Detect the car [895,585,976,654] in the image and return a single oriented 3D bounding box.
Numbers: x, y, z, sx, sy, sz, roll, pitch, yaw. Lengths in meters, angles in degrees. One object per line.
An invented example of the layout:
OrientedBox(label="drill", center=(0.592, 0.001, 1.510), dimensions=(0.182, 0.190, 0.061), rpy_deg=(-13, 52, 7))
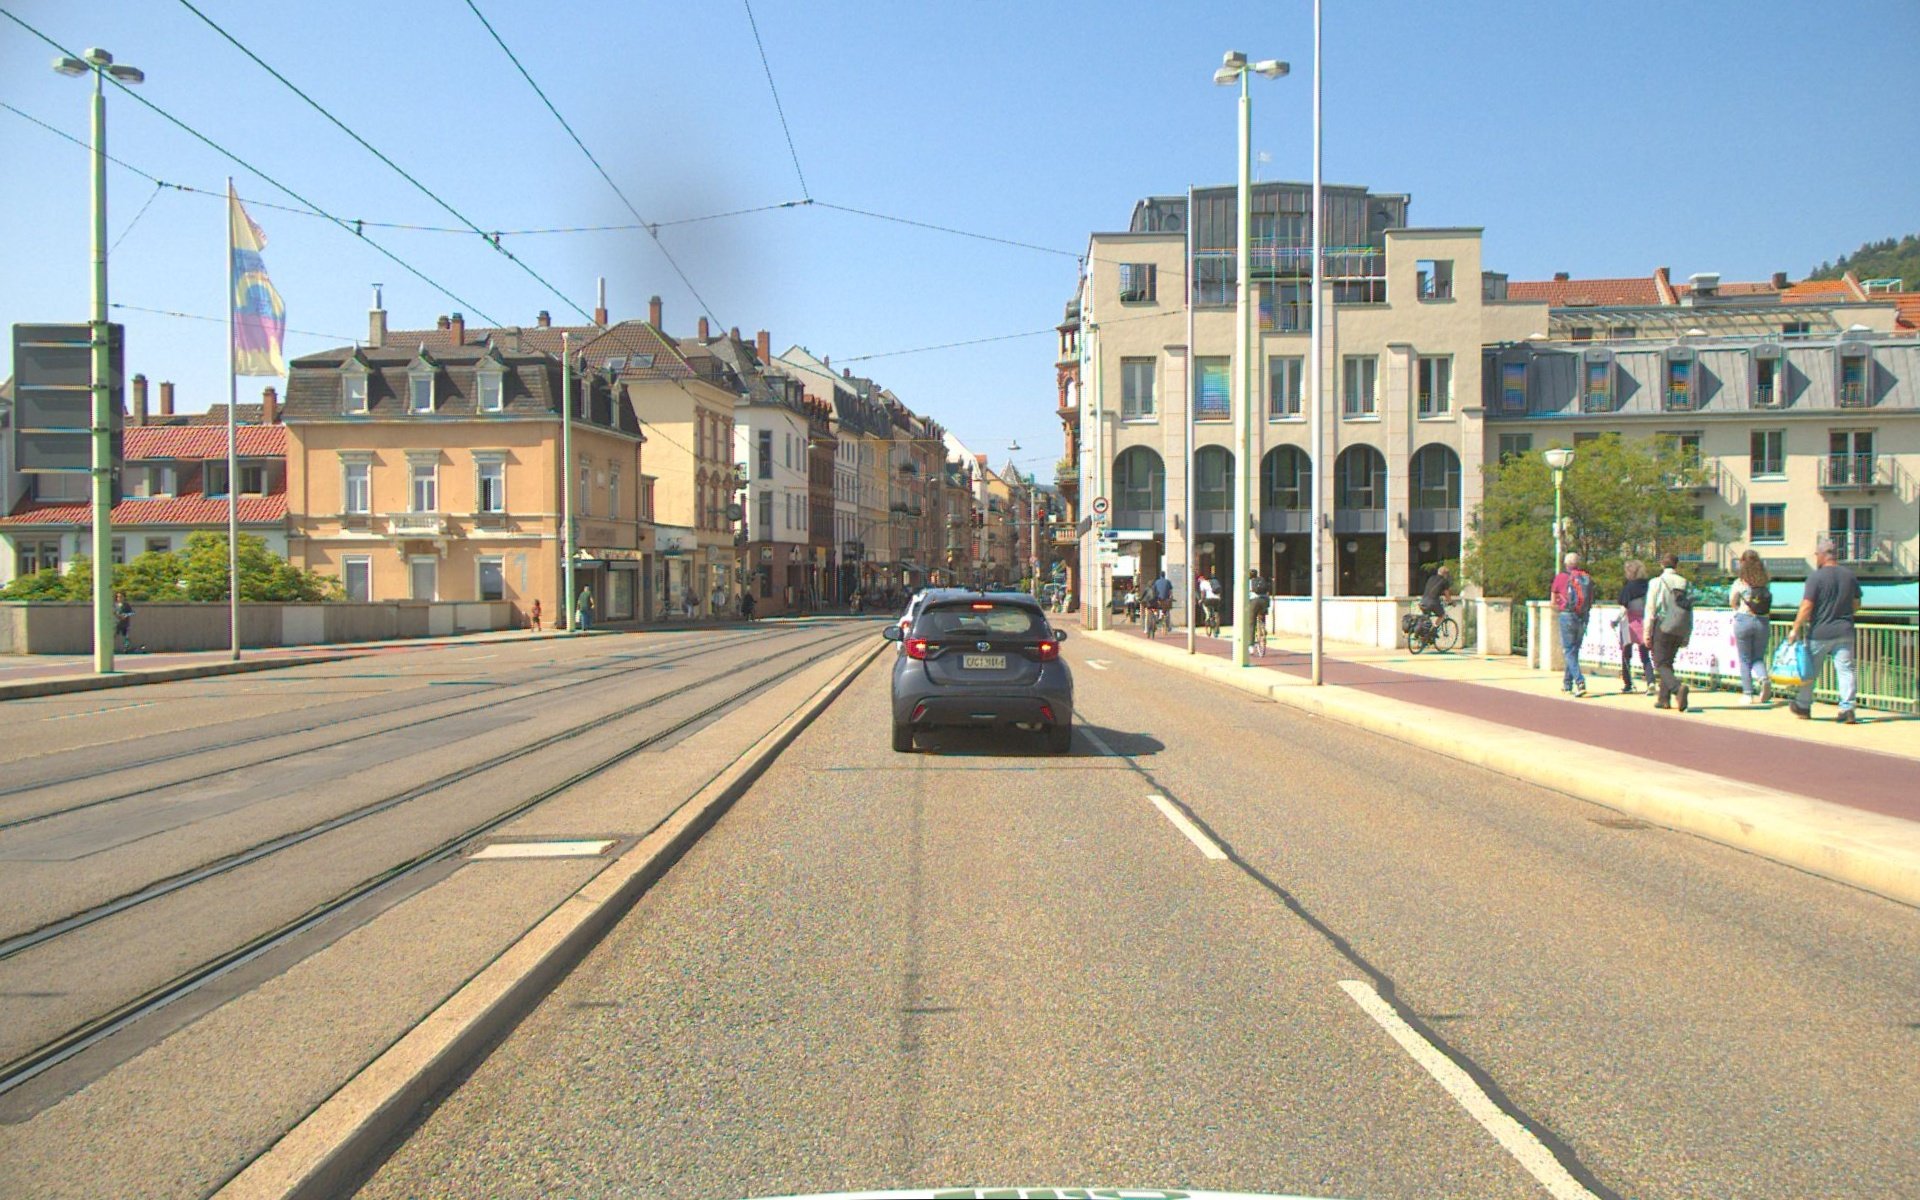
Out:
OrientedBox(label="car", center=(-0.610, 0.439, 40.429), dimensions=(1.859, 1.557, 3.999), rpy_deg=(1, 0, -1))

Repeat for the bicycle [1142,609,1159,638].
OrientedBox(label="bicycle", center=(5.424, 0.654, 47.127), dimensions=(0.407, 0.779, 1.206), rpy_deg=(-2, 0, 4))

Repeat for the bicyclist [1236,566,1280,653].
OrientedBox(label="bicyclist", center=(6.077, 0.192, 33.762), dimensions=(0.687, 1.725, 0.924), rpy_deg=(-1, 0, 0))

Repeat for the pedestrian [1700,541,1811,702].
OrientedBox(label="pedestrian", center=(9.149, 0.239, 19.047), dimensions=(0.724, 1.777, 1.015), rpy_deg=(-2, 0, -1))

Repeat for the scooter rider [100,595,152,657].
OrientedBox(label="scooter rider", center=(-18.687, 0.578, 37.061), dimensions=(0.752, 1.338, 0.598), rpy_deg=(4, 0, 11))

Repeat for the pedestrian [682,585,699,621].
OrientedBox(label="pedestrian", center=(-12.946, 0.146, 79.566), dimensions=(0.636, 1.629, 0.566), rpy_deg=(4, 2, 0))

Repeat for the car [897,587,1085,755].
OrientedBox(label="car", center=(0.250, 0.635, 16.852), dimensions=(1.685, 1.499, 3.657), rpy_deg=(1, 0, -1))

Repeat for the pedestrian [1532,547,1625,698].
OrientedBox(label="pedestrian", center=(7.786, 0.269, 20.863), dimensions=(0.724, 1.833, 1.015), rpy_deg=(-2, 0, -1))

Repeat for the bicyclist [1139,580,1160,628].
OrientedBox(label="bicyclist", center=(5.396, 0.118, 47.108), dimensions=(0.527, 1.339, 0.672), rpy_deg=(-2, 0, 4))

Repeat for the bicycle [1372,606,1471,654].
OrientedBox(label="bicycle", center=(9.211, 0.582, 32.993), dimensions=(1.798, 0.898, 0.794), rpy_deg=(-1, 0, -24))

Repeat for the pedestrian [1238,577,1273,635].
OrientedBox(label="pedestrian", center=(8.686, 0.186, 48.664), dimensions=(0.724, 1.642, 1.015), rpy_deg=(4, 0, -1))

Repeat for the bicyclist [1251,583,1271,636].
OrientedBox(label="bicyclist", center=(8.060, 0.245, 44.336), dimensions=(0.413, 1.407, 0.443), rpy_deg=(-2, 0, -1))

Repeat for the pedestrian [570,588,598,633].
OrientedBox(label="pedestrian", center=(-14.569, 0.400, 64.064), dimensions=(0.746, 1.682, 0.712), rpy_deg=(4, 0, 6))

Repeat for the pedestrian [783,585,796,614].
OrientedBox(label="pedestrian", center=(-10.749, -0.035, 104.441), dimensions=(0.721, 1.797, 0.787), rpy_deg=(0, 1, -1))

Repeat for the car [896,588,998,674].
OrientedBox(label="car", center=(-0.273, 0.556, 32.435), dimensions=(1.859, 1.557, 3.999), rpy_deg=(1, 0, -1))

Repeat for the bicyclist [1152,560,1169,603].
OrientedBox(label="bicyclist", center=(6.113, -0.564, 50.414), dimensions=(0.413, 1.278, 0.443), rpy_deg=(-2, 0, 2))

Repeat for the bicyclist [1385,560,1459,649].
OrientedBox(label="bicyclist", center=(9.209, 0.092, 32.994), dimensions=(0.909, 1.725, 1.134), rpy_deg=(-1, 0, -24))

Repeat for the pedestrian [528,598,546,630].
OrientedBox(label="pedestrian", center=(-15.787, 0.536, 61.703), dimensions=(0.403, 1.166, 0.545), rpy_deg=(4, 0, 6))

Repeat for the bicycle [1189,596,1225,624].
OrientedBox(label="bicycle", center=(7.014, 0.281, 46.977), dimensions=(0.414, 0.779, 0.948), rpy_deg=(-2, 0, -39))

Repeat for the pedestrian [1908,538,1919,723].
OrientedBox(label="pedestrian", center=(9.424, 0.281, 15.268), dimensions=(0.724, 1.748, 1.015), rpy_deg=(-1, 0, -1))

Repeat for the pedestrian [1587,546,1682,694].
OrientedBox(label="pedestrian", center=(8.571, 0.246, 21.057), dimensions=(0.724, 1.808, 1.015), rpy_deg=(-2, 0, -1))

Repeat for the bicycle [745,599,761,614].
OrientedBox(label="bicycle", center=(-11.407, 0.348, 91.177), dimensions=(0.608, 0.728, 1.771), rpy_deg=(4, 0, 0))

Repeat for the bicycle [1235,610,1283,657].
OrientedBox(label="bicycle", center=(6.092, 0.668, 33.771), dimensions=(0.689, 0.898, 1.525), rpy_deg=(-1, 0, 0))

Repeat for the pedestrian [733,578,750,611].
OrientedBox(label="pedestrian", center=(-12.057, -0.312, 91.465), dimensions=(0.721, 1.796, 0.787), rpy_deg=(4, 0, -1))

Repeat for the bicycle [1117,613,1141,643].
OrientedBox(label="bicycle", center=(8.711, 1.445, 85.350), dimensions=(1.089, 1.444, 3.009), rpy_deg=(4, 0, 6))

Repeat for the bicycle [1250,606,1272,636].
OrientedBox(label="bicycle", center=(8.064, 0.567, 44.339), dimensions=(0.408, 0.779, 0.961), rpy_deg=(-2, 0, 0))

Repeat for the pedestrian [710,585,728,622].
OrientedBox(label="pedestrian", center=(-12.283, 0.170, 84.346), dimensions=(0.721, 1.797, 0.787), rpy_deg=(4, 0, 0))

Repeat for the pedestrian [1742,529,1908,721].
OrientedBox(label="pedestrian", center=(8.593, 0.233, 16.487), dimensions=(0.957, 1.808, 1.207), rpy_deg=(-2, 0, -1))

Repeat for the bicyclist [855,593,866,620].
OrientedBox(label="bicyclist", center=(-6.278, 0.384, 104.228), dimensions=(0.614, 1.679, 0.622), rpy_deg=(1, 1, 0))

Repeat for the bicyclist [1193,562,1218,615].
OrientedBox(label="bicyclist", center=(6.970, -0.336, 47.000), dimensions=(0.480, 1.492, 0.437), rpy_deg=(-2, 0, -40))

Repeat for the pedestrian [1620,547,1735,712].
OrientedBox(label="pedestrian", center=(7.923, 0.309, 18.309), dimensions=(0.739, 1.748, 1.073), rpy_deg=(-2, 0, -1))

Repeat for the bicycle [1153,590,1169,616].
OrientedBox(label="bicycle", center=(6.130, 0.091, 50.432), dimensions=(0.407, 0.779, 0.962), rpy_deg=(-2, 0, 2))

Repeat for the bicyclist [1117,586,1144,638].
OrientedBox(label="bicyclist", center=(8.813, 0.600, 85.567), dimensions=(1.202, 2.572, 1.105), rpy_deg=(4, 0, 5))
